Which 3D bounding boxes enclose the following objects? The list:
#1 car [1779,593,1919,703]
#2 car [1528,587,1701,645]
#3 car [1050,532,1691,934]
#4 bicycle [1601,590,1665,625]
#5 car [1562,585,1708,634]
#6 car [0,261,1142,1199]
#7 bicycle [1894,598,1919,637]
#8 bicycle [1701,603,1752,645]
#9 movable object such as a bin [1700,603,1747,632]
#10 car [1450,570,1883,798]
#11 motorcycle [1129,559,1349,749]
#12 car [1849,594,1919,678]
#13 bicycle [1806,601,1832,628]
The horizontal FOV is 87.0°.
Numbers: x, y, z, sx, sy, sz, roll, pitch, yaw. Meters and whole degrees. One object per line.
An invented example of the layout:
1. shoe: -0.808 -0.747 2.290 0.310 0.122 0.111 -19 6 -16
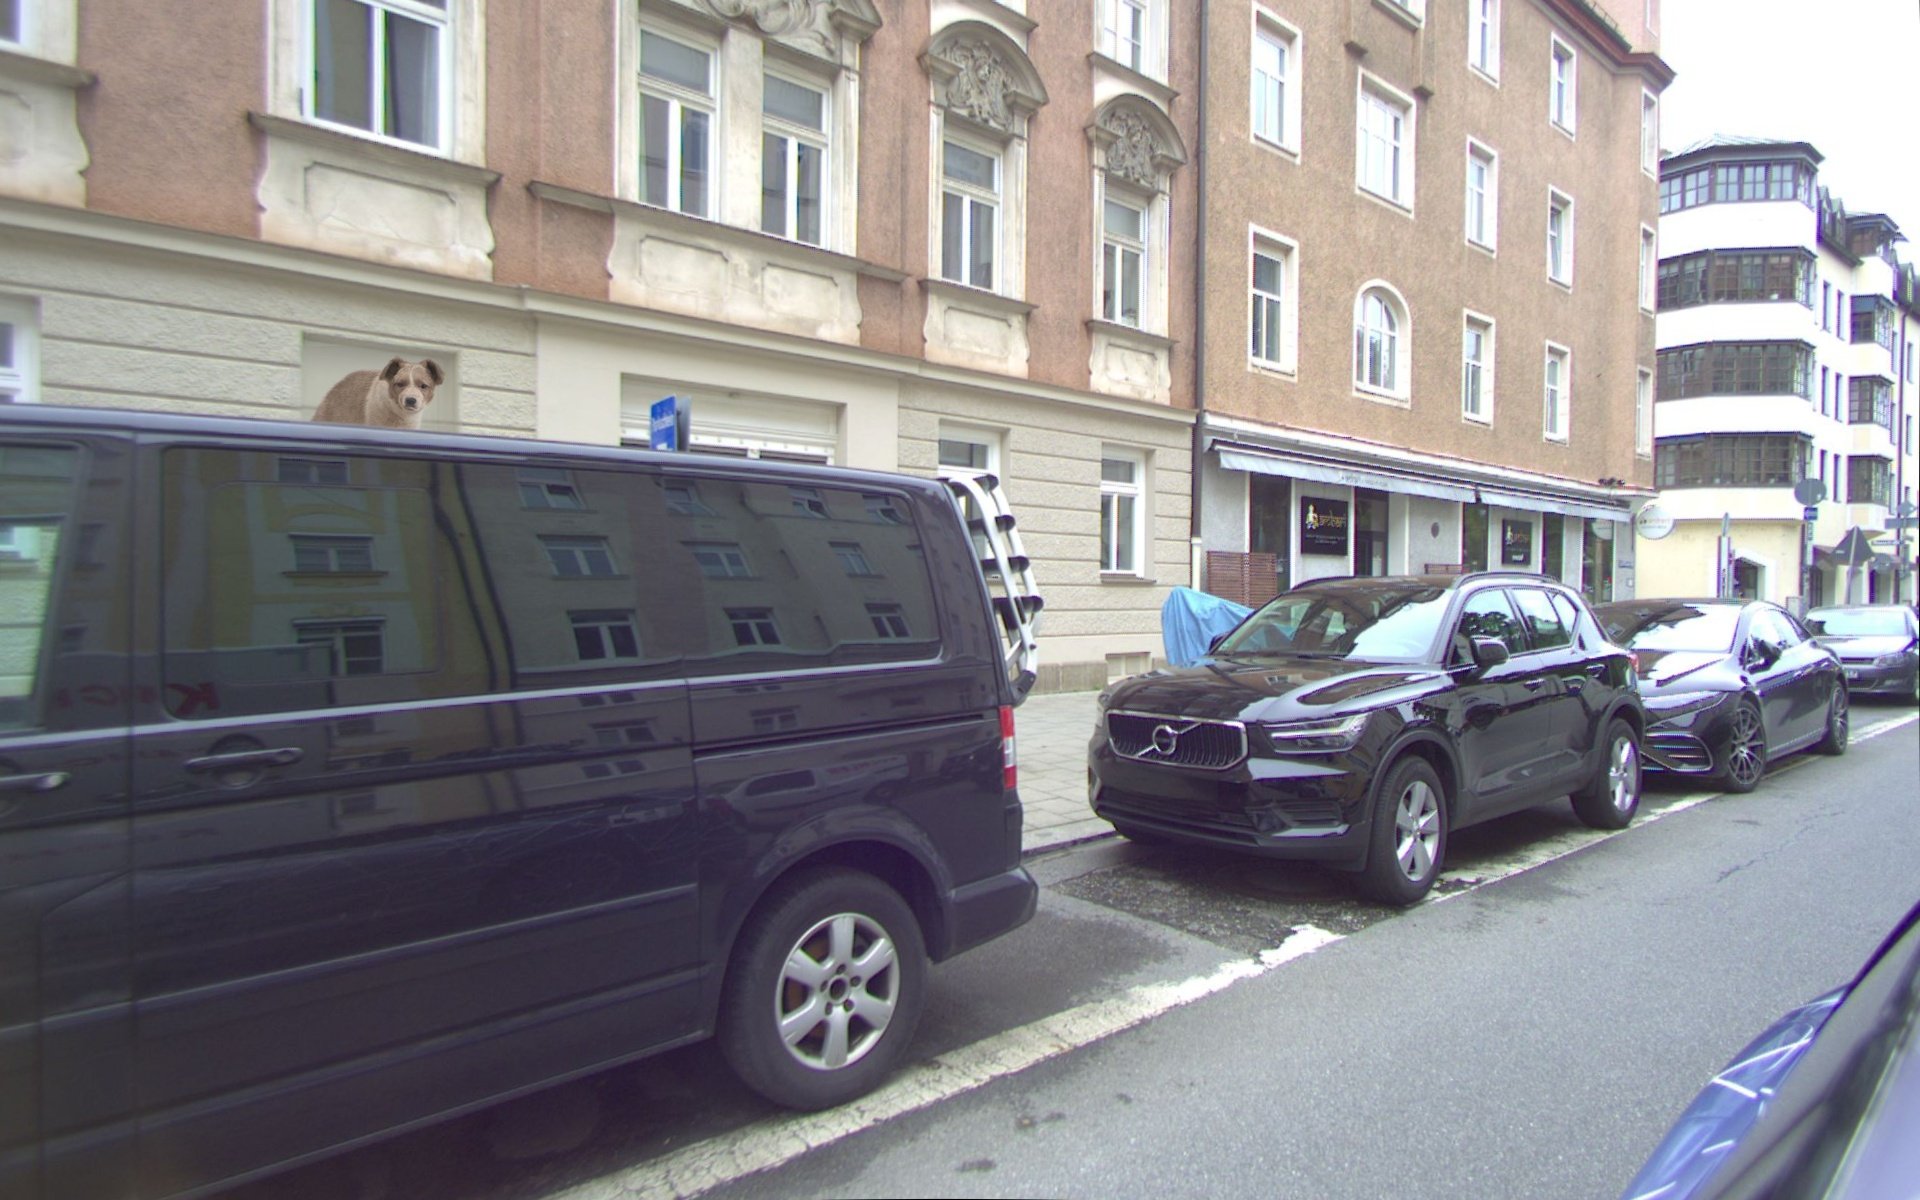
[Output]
1. car: 14.080 0.635 15.506 4.108 1.412 1.576 -1 2 -39
2. car: 19.132 0.408 29.709 1.857 1.506 3.884 -1 2 -37
3. car: 2.748 0.562 6.290 4.327 1.698 1.697 -1 -2 -38
4. bicycle: 24.923 0.263 37.510 0.506 1.201 1.906 0 1 -36
5. car: 22.976 0.313 34.562 1.717 1.458 3.749 3 0 -33
6. car: -2.040 0.386 2.717 5.048 1.944 2.088 -3 2 -38
7. bicycle: 31.161 0.559 33.166 2.015 1.173 0.431 -1 2 -37
8. bicycle: 19.433 0.604 25.654 1.768 1.017 0.497 1 2 -36
9. movable object such as a bin: 25.590 0.564 33.923 0.671 0.911 1.126 0 2 -37
10. car: 6.858 0.569 9.512 5.536 1.572 1.935 0 0 -40
11. motorcycle: 2.517 0.421 9.038 1.960 1.523 0.874 0 0 -37
12. car: 18.284 0.607 18.806 4.701 1.422 1.851 0 1 -38
13. bicycle: 31.122 0.505 36.665 1.663 0.912 0.263 -1 6 -36
